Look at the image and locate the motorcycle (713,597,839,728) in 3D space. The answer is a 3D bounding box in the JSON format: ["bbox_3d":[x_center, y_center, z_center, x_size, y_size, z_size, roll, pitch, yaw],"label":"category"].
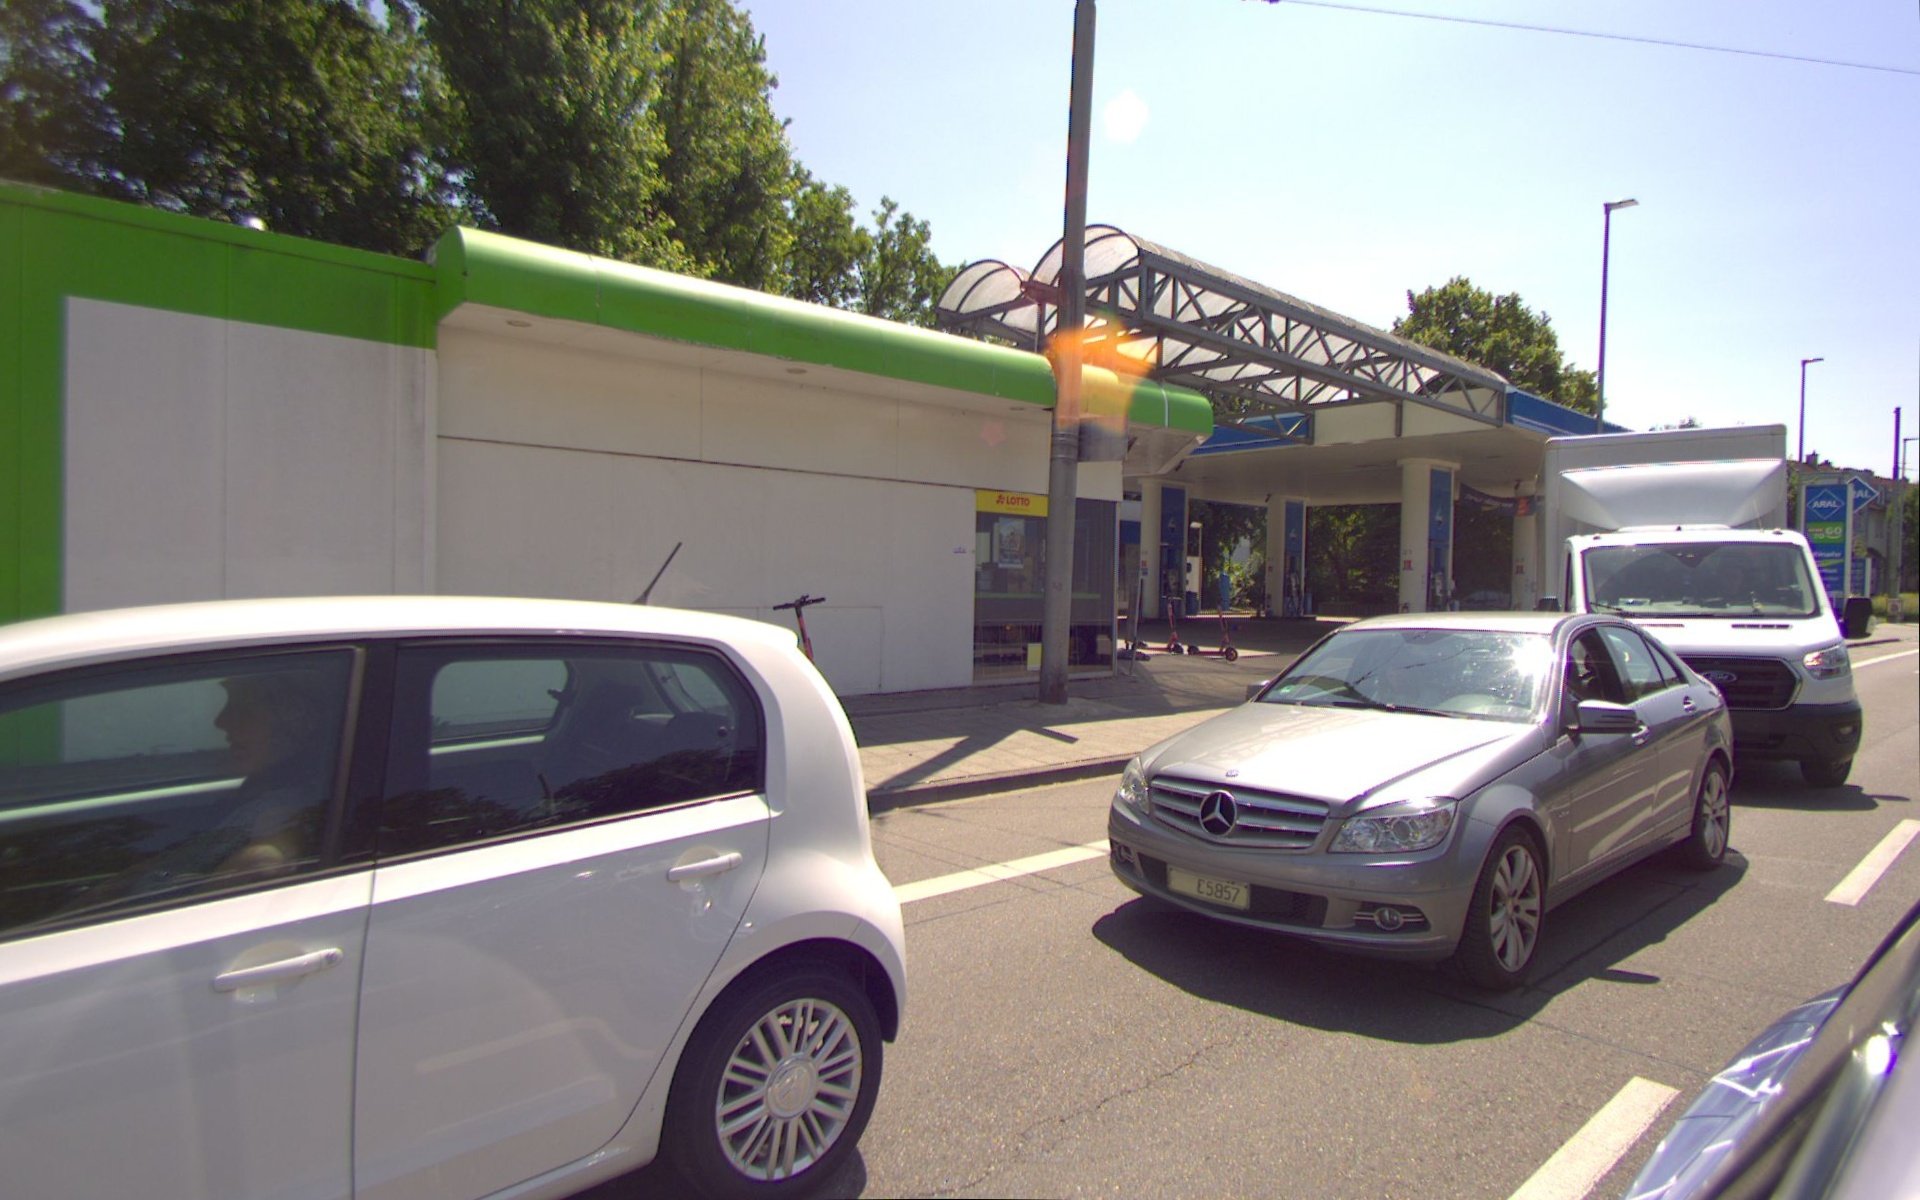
[{"bbox_3d":[-1.679,0.550,9.307,1.098,1.118,0.253,-1,7,-40],"label":"motorcycle"}]

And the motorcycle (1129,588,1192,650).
[{"bbox_3d":[3.932,0.368,19.898,0.389,1.127,1.156,2,2,-41],"label":"motorcycle"}]

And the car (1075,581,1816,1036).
[{"bbox_3d":[3.069,0.700,5.654,5.206,1.492,1.716,0,-1,-40],"label":"car"}]

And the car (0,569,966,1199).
[{"bbox_3d":[-1.786,0.684,2.284,3.374,1.466,1.612,1,0,-40],"label":"car"}]

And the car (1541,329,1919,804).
[{"bbox_3d":[7.942,-0.262,11.474,2.211,3.378,8.546,-1,0,29],"label":"car"}]

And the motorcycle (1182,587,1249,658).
[{"bbox_3d":[4.762,0.410,18.933,0.357,1.225,1.156,2,2,-41],"label":"motorcycle"}]
